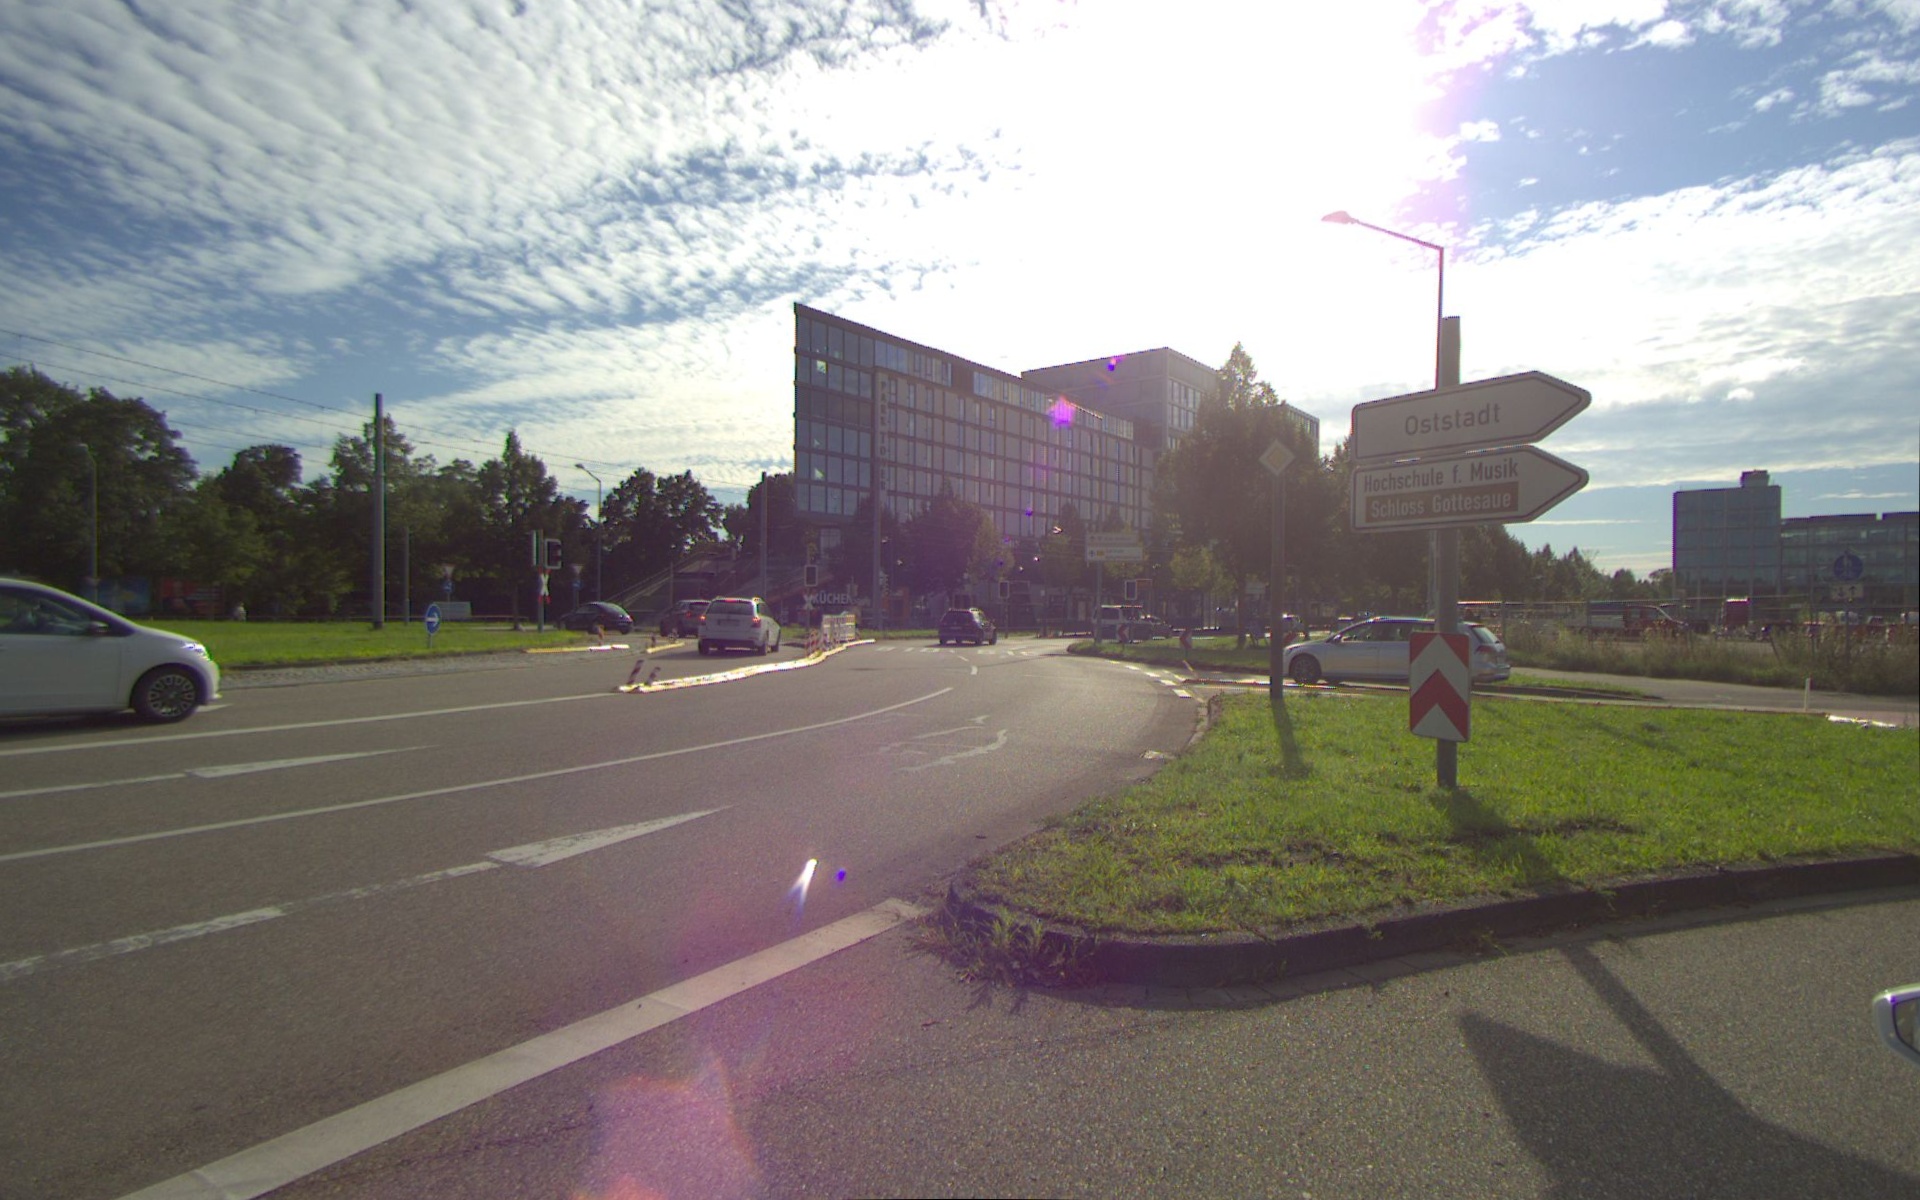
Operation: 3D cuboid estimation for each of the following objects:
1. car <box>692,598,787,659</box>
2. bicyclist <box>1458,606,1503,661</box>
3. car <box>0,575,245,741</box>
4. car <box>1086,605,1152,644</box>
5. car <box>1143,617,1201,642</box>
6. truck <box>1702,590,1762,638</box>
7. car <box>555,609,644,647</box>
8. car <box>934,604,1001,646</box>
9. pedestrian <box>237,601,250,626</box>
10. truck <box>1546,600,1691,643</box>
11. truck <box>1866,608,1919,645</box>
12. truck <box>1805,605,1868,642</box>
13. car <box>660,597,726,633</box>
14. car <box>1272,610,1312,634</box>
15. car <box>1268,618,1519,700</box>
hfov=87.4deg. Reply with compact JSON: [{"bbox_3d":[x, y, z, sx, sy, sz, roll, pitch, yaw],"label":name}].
[{"bbox_3d":[-5.859,0.712,27.244,1.821,1.464,4.636,2,0,-4],"label":"car"},{"bbox_3d":[14.880,0.943,28.744,0.692,1.531,1.009,0,0,-8],"label":"bicyclist"},{"bbox_3d":[-9.267,0.502,9.557,1.737,1.484,3.649,2,1,34],"label":"car"},{"bbox_3d":[8.613,1.293,54.089,1.869,1.928,4.650,1,1,32],"label":"car"},{"bbox_3d":[13.850,1.874,65.411,1.872,1.450,4.641,1,1,38],"label":"car"},{"bbox_3d":[55.051,0.992,71.756,2.768,3.250,7.296,1,0,33],"label":"truck"},{"bbox_3d":[-17.130,1.281,47.709,3.929,1.562,1.995,2,2,31],"label":"car"},{"bbox_3d":[0.384,1.024,42.864,1.959,1.587,4.847,3,0,11],"label":"car"},{"bbox_3d":[-46.576,0.875,65.277,0.497,1.646,0.547,0,0,29],"label":"pedestrian"},{"bbox_3d":[42.829,1.366,65.470,7.734,2.601,3.063,0,0,37],"label":"truck"},{"bbox_3d":[62.736,1.739,67.078,2.295,2.359,6.435,1,0,33],"label":"truck"},{"bbox_3d":[59.902,1.591,68.760,2.295,2.359,6.435,1,0,33],"label":"truck"},{"bbox_3d":[-11.382,0.624,42.701,1.815,1.450,3.970,1,0,-29],"label":"car"},{"bbox_3d":[27.836,1.811,84.134,1.871,1.928,4.644,1,0,36],"label":"car"},{"bbox_3d":[8.921,1.143,20.908,4.476,1.471,1.814,0,0,41],"label":"car"}]
